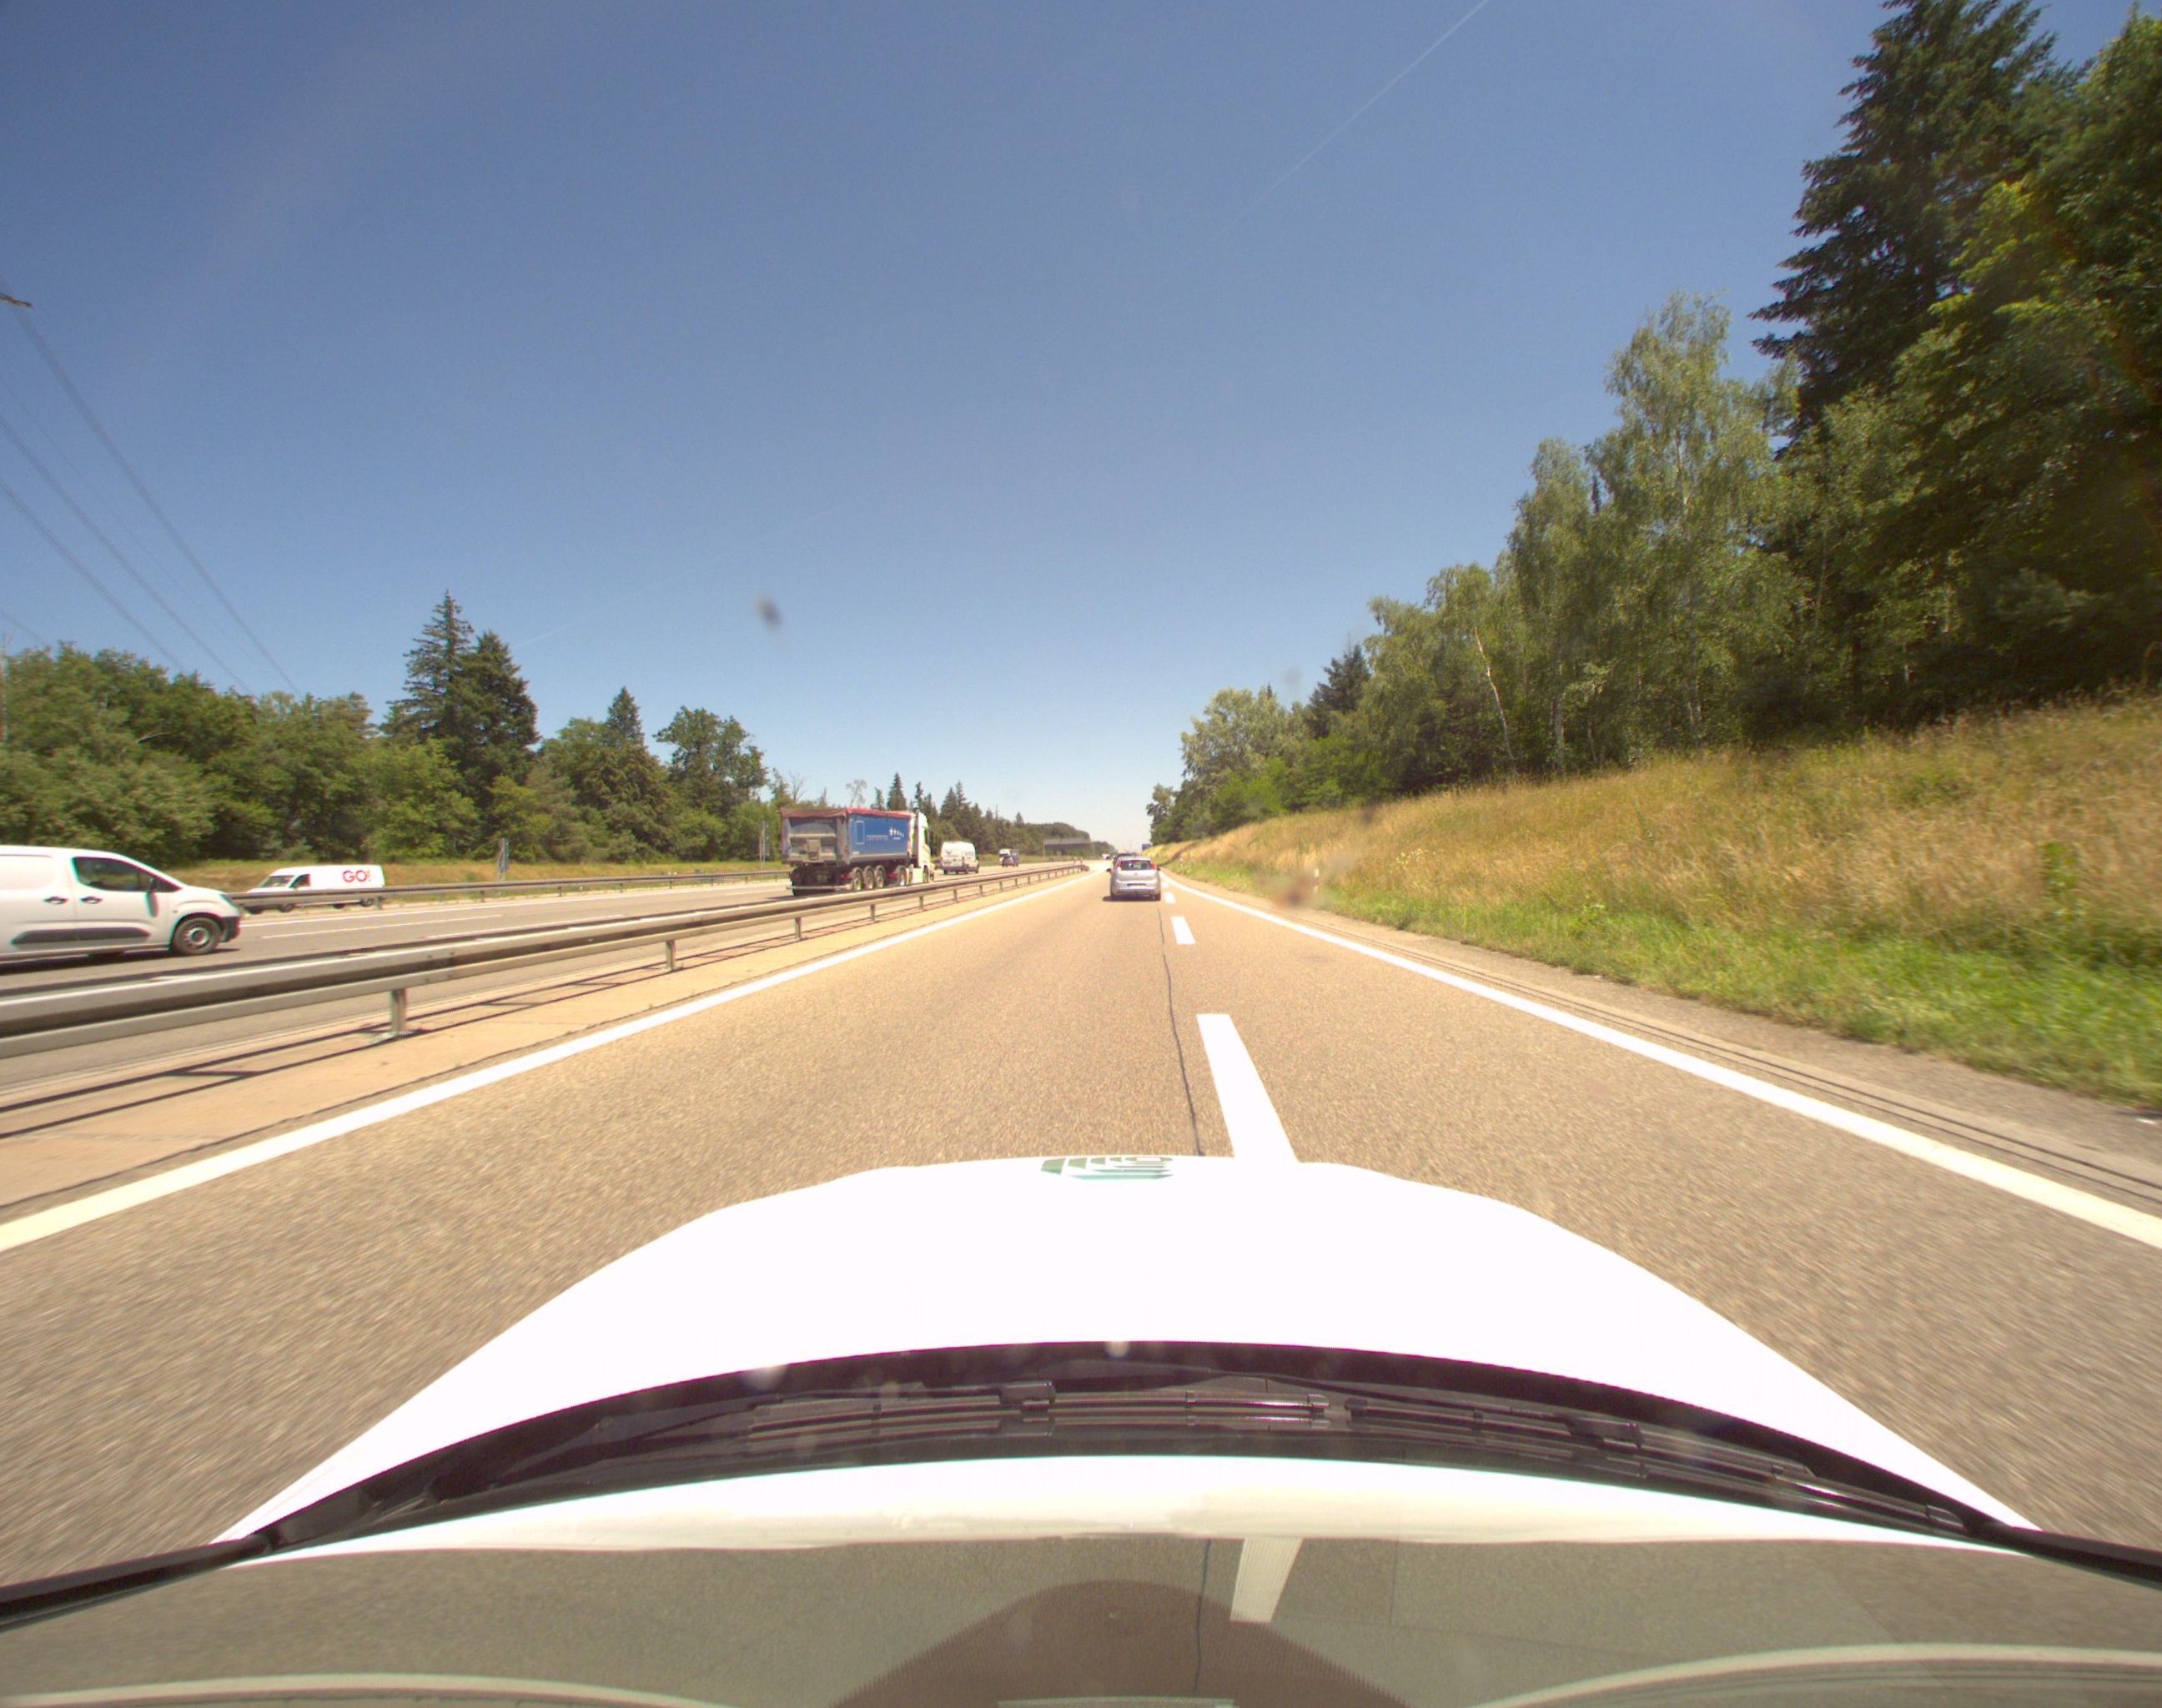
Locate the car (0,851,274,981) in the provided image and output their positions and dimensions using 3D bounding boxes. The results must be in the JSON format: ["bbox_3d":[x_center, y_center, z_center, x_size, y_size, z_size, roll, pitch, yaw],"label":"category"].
[{"bbox_3d":[-15.451,0.864,12.026,1.763,1.754,5.026,-2,0,5],"label":"car"}]

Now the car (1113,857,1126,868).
[{"bbox_3d":[5.336,1.180,114.222,1.700,1.508,3.398,-1,-2,2],"label":"car"}]

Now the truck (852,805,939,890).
[{"bbox_3d":[-8.868,-0.282,39.427,2.743,3.807,4.628,-1,0,5],"label":"truck"}]

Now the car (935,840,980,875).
[{"bbox_3d":[-10.637,0.363,70.723,2.622,2.897,6.478,-1,-2,2],"label":"car"}]

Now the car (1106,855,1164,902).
[{"bbox_3d":[1.793,0.789,27.881,1.701,1.482,3.397,-1,0,0],"label":"car"}]

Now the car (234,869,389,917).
[{"bbox_3d":[-44.463,2.157,47.409,1.984,2.543,6.923,-1,-1,5],"label":"car"}]

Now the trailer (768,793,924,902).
[{"bbox_3d":[-9.342,-0.260,33.980,2.758,3.807,9.899,-1,0,5],"label":"trailer"}]

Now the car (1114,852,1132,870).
[{"bbox_3d":[4.295,0.712,83.201,1.700,1.676,3.398,-1,-2,2],"label":"car"}]

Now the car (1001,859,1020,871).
[{"bbox_3d":[-9.867,1.579,114.281,1.985,1.618,4.002,-1,-2,3],"label":"car"}]
